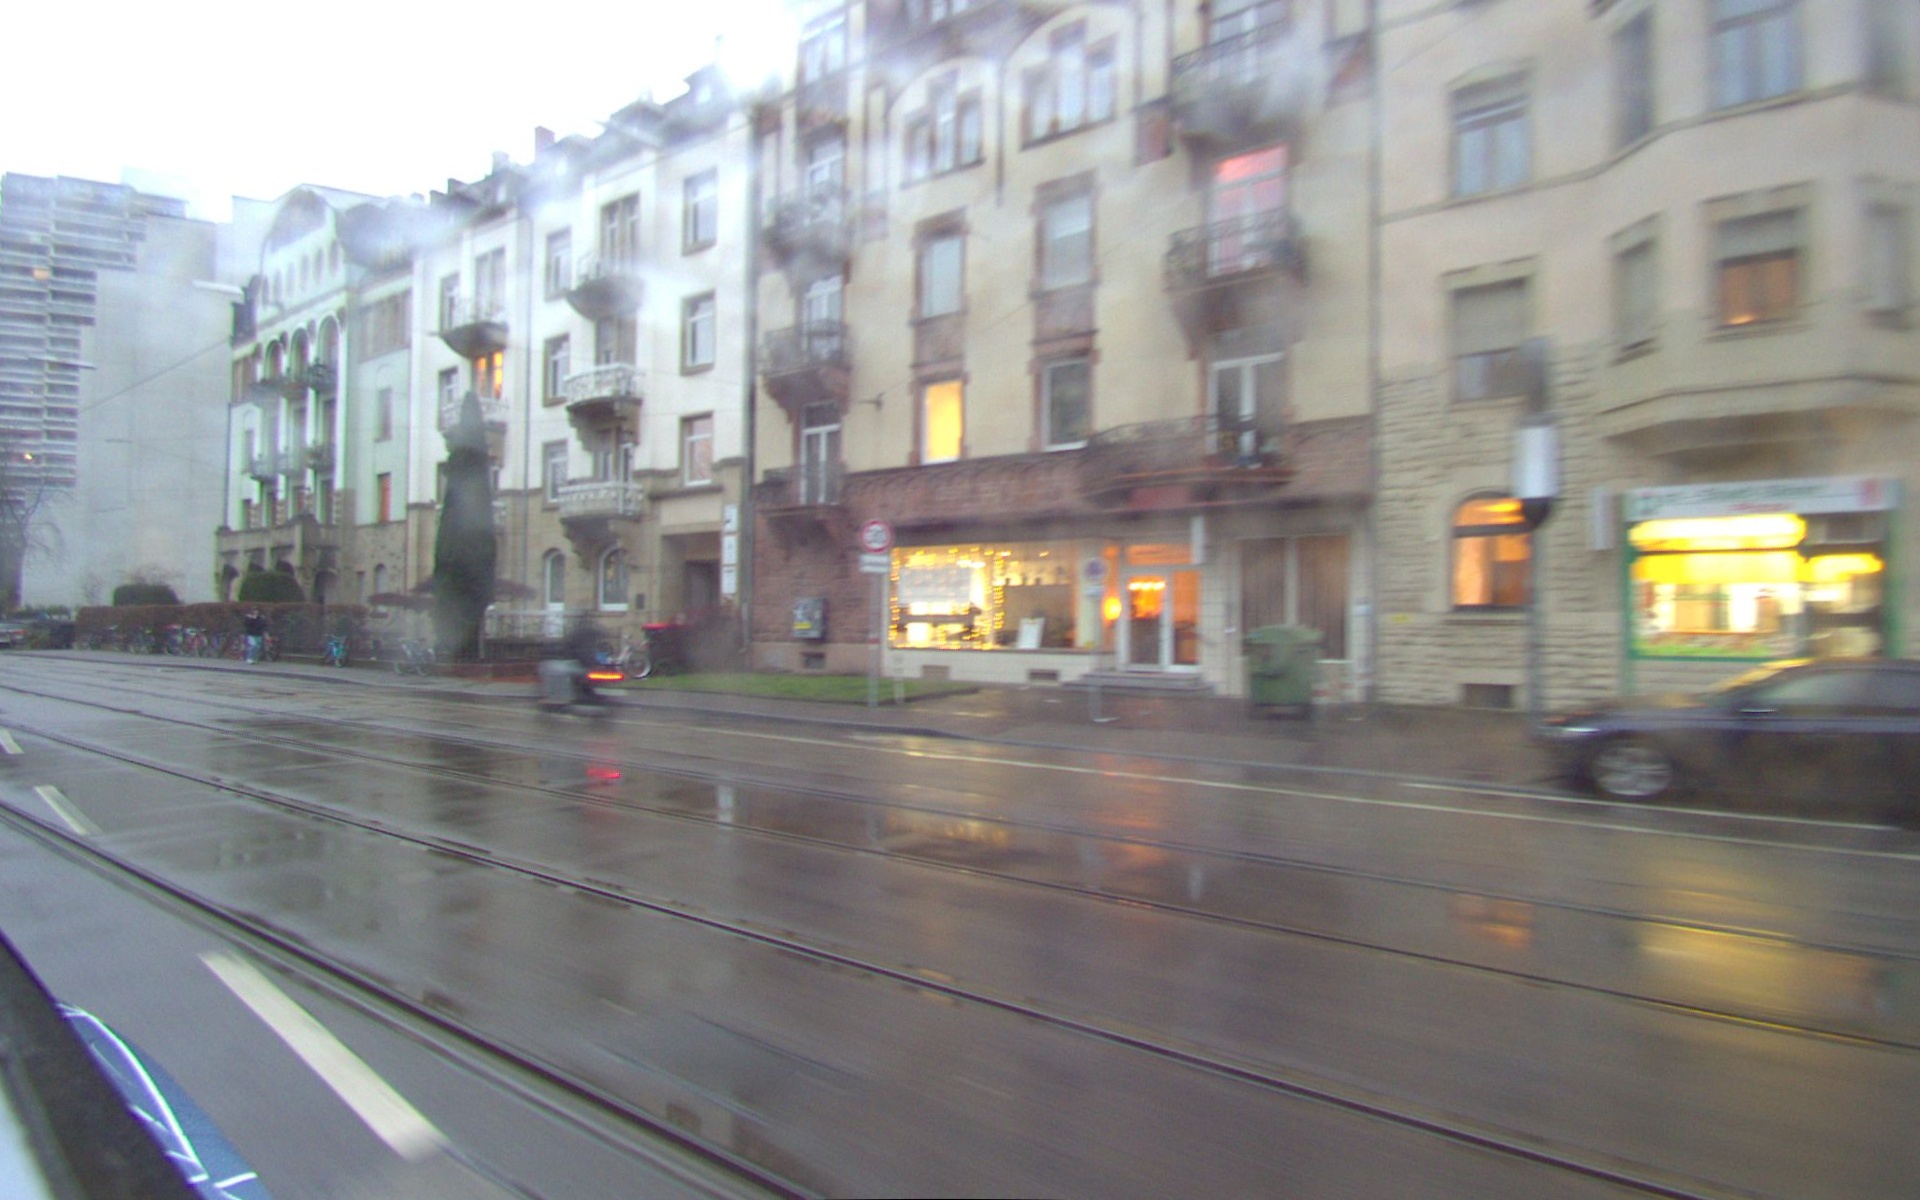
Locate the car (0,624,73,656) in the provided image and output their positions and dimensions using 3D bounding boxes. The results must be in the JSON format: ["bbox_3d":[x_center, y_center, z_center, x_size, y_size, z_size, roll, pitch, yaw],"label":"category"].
[{"bbox_3d":[-47.587,2.023,51.180,1.724,1.424,3.795,-1,1,37],"label":"car"}]

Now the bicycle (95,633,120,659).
[{"bbox_3d":[-35.608,1.902,42.266,1.878,1.014,0.430,-1,1,38],"label":"bicycle"}]

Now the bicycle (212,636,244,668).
[{"bbox_3d":[-24.855,1.761,34.357,1.710,1.014,0.430,-1,1,38],"label":"bicycle"}]

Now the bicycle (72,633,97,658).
[{"bbox_3d":[-37.988,1.968,43.887,1.878,1.014,0.464,-1,1,38],"label":"bicycle"}]

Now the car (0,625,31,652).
[{"bbox_3d":[-55.628,2.243,57.616,1.724,1.424,3.795,-1,1,37],"label":"car"}]

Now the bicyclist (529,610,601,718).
[{"bbox_3d":[-5.714,0.914,14.649,0.655,1.512,0.651,0,-4,29],"label":"bicyclist"}]

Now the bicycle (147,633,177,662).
[{"bbox_3d":[-29.715,1.751,37.661,1.878,1.014,0.430,-1,1,38],"label":"bicycle"}]

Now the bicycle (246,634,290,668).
[{"bbox_3d":[-22.157,1.628,32.374,2.206,1.014,0.518,-1,1,38],"label":"bicycle"}]

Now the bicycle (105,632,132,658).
[{"bbox_3d":[-34.041,1.812,40.927,1.878,1.014,0.430,-1,1,38],"label":"bicycle"}]

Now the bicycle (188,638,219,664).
[{"bbox_3d":[-26.402,1.785,35.310,1.765,0.838,0.437,-1,1,38],"label":"bicycle"}]

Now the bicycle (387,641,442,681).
[{"bbox_3d":[-14.099,1.562,26.116,2.085,0.947,0.524,-1,1,41],"label":"bicycle"}]

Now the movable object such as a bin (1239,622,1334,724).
[{"bbox_3d":[5.059,1.089,15.634,1.071,1.442,1.226,-1,1,35],"label":"movable object such as a bin"}]

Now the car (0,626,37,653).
[{"bbox_3d":[-52.393,2.172,54.450,1.724,1.424,3.795,-1,0,37],"label":"car"}]

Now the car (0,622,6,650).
[{"bbox_3d":[-60.737,2.243,61.461,1.724,1.730,3.795,-1,0,37],"label":"car"}]

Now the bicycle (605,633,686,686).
[{"bbox_3d":[-7.664,1.431,24.760,0.530,1.167,1.967,-1,1,35],"label":"bicycle"}]

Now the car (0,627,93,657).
[{"bbox_3d":[-45.232,2.047,49.651,1.724,1.424,3.795,-1,-3,37],"label":"car"}]

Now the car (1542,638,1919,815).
[{"bbox_3d":[8.244,1.135,9.743,4.496,1.400,1.787,-1,1,33],"label":"car"}]

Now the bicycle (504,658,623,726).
[{"bbox_3d":[-5.739,1.308,14.633,1.706,0.896,0.642,0,-3,29],"label":"bicycle"}]

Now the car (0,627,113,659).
[{"bbox_3d":[-42.987,2.028,48.199,1.724,1.424,3.795,-1,-2,37],"label":"car"}]

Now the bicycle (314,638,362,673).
[{"bbox_3d":[-17.879,1.583,29.070,2.208,0.896,0.524,-1,1,41],"label":"bicycle"}]

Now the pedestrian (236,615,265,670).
[{"bbox_3d":[-21.777,1.294,31.076,0.447,1.654,0.567,-1,0,33],"label":"pedestrian"}]

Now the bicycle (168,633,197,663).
[{"bbox_3d":[-27.865,1.716,36.284,1.603,1.014,0.430,-1,1,38],"label":"bicycle"}]

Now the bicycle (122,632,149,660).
[{"bbox_3d":[-32.405,1.799,39.767,1.878,1.014,0.430,-1,1,38],"label":"bicycle"}]
